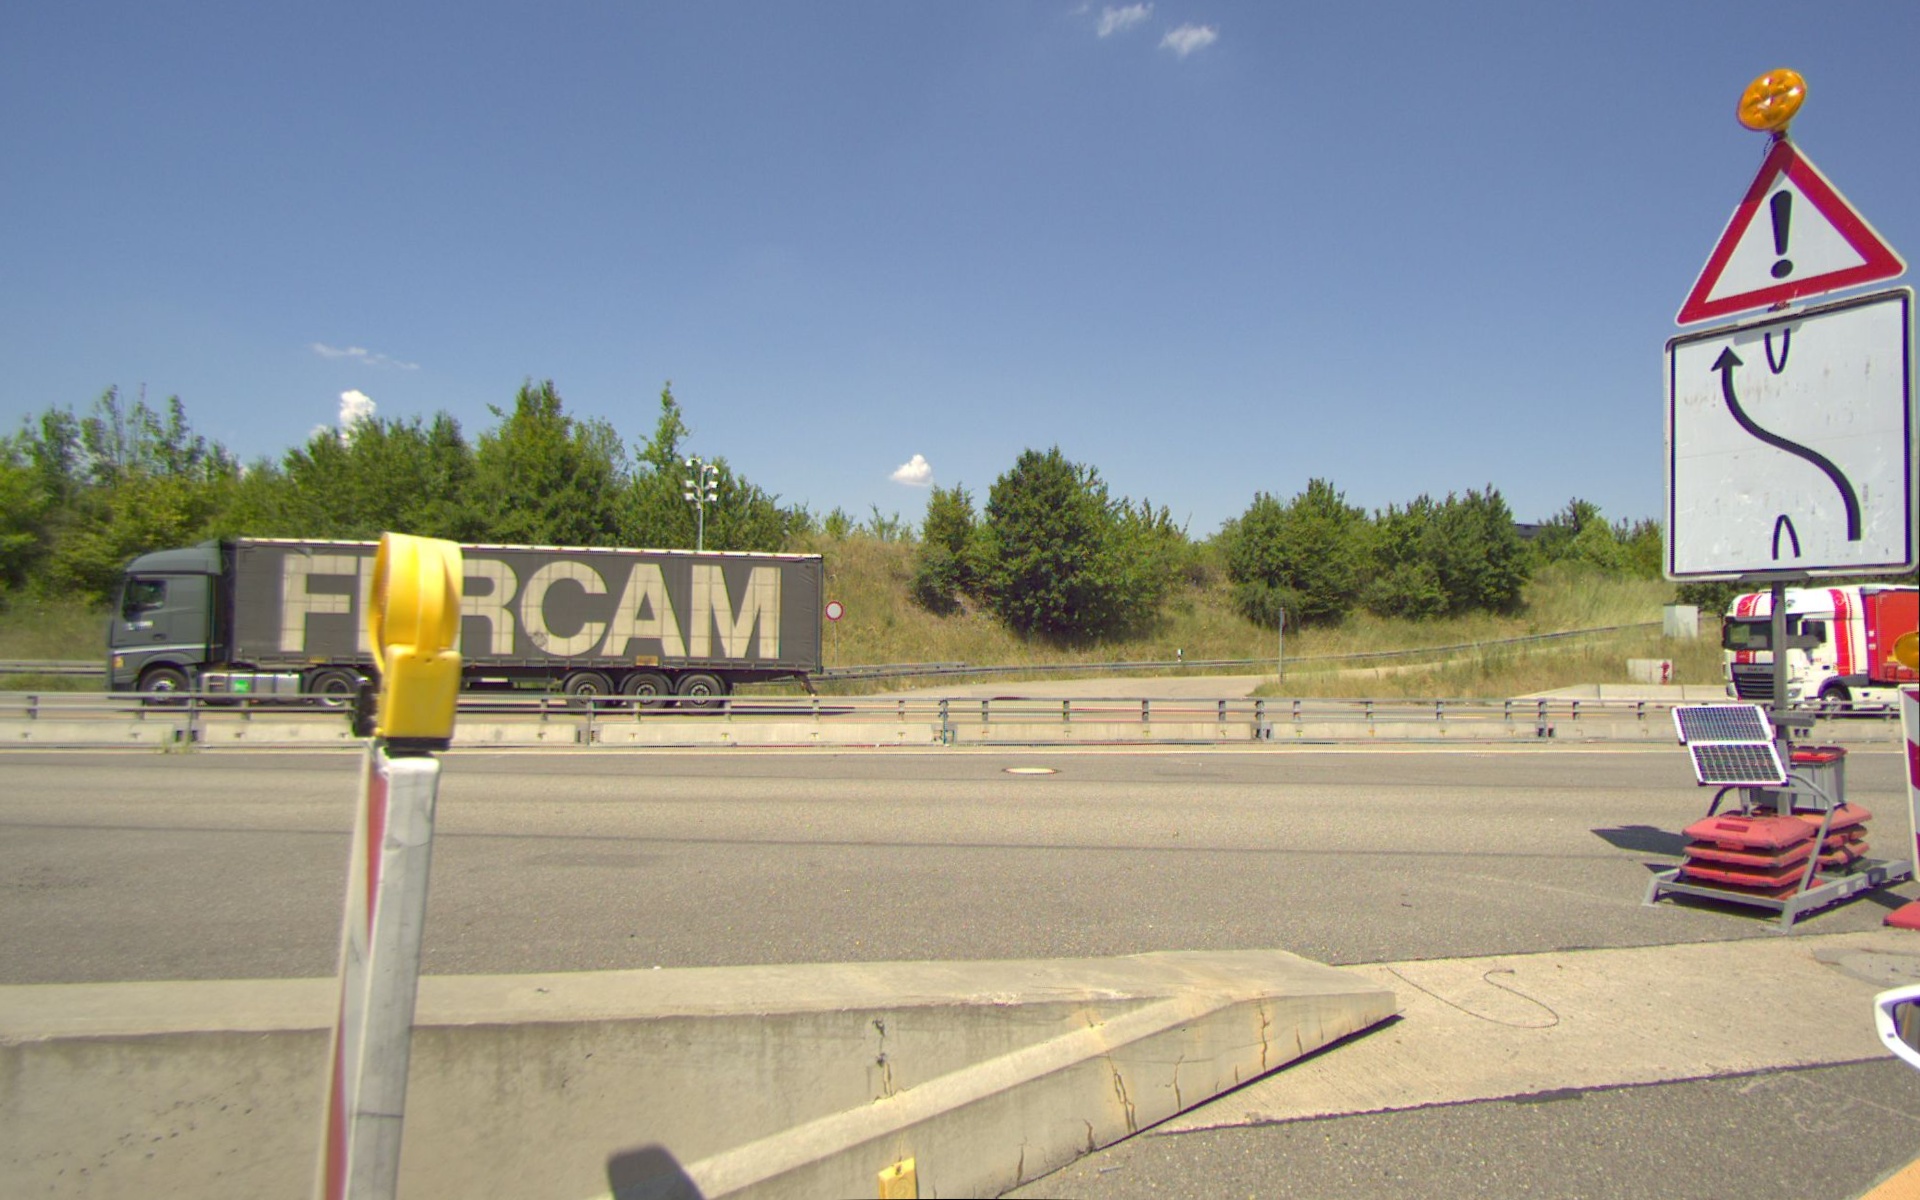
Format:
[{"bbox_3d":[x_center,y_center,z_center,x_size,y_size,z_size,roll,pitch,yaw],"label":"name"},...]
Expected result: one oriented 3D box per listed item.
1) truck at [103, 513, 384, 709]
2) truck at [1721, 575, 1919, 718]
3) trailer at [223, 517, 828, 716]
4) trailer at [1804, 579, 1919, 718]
[{"bbox_3d":[-16.997,0.314,24.131,4.749,4.326,2.437,2,-2,-8],"label":"truck"},{"bbox_3d":[26.859,1.455,31.291,4.928,4.161,2.338,2,-2,-11],"label":"truck"},{"bbox_3d":[-10.188,0.517,25.082,13.555,4.353,2.441,2,-2,-8],"label":"trailer"},{"bbox_3d":[33.994,1.708,32.596,13.024,4.156,2.341,2,-2,-10],"label":"trailer"}]
